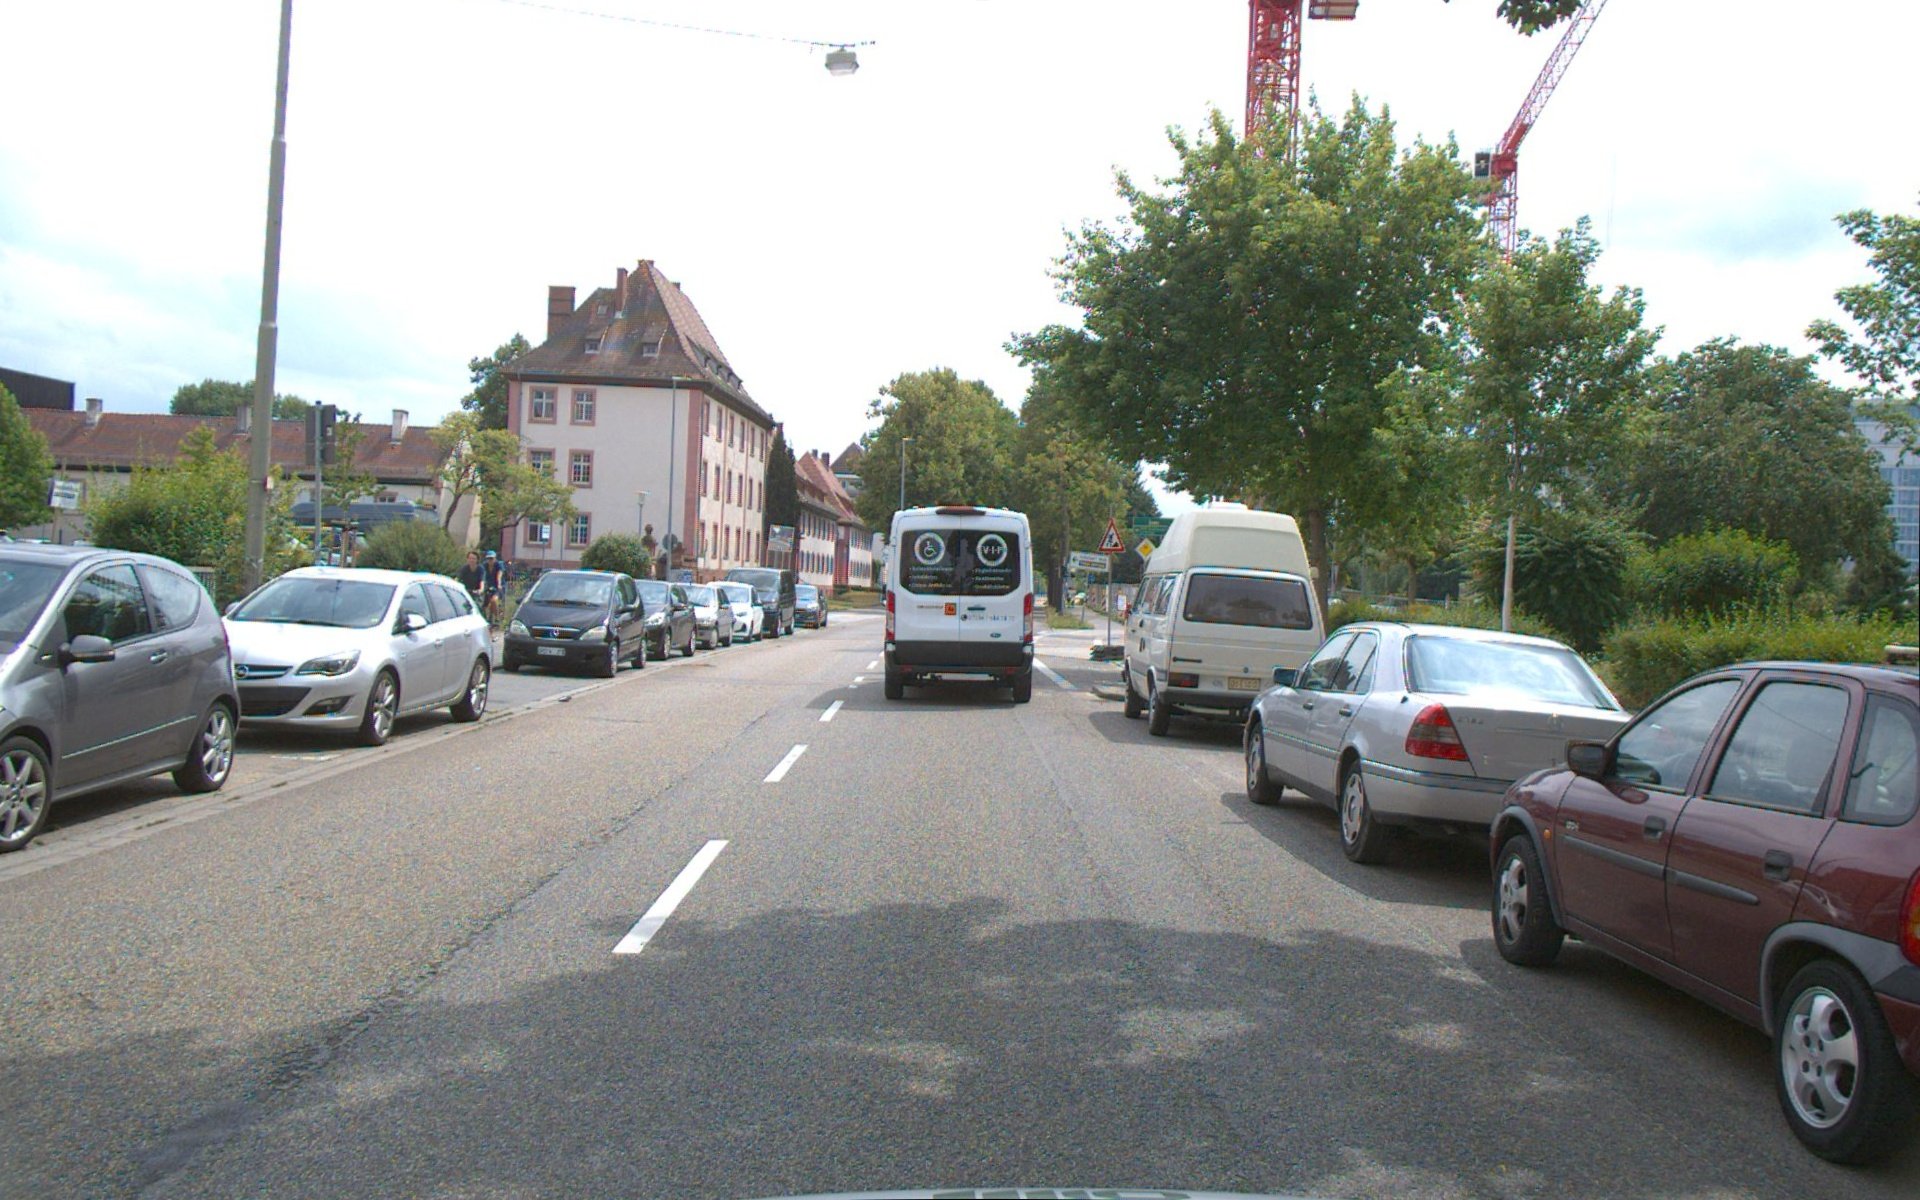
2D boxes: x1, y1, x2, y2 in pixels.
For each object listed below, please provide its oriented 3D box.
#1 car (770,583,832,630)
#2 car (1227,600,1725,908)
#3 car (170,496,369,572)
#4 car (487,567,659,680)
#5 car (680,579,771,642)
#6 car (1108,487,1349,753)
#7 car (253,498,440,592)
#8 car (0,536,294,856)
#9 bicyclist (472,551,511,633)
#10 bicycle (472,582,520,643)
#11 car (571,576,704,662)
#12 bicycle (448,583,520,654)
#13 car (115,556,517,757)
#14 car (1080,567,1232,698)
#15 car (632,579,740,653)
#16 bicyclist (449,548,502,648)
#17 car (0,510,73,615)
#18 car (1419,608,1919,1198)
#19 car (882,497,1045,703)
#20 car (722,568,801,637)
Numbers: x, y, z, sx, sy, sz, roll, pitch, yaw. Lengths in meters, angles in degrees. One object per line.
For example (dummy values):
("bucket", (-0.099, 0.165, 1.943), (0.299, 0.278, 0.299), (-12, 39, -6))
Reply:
("car", (-5.623, 0.205, 58.806), (1.749, 1.507, 3.861), (3, 0, 0))
("car", (3.131, 0.826, 11.105), (1.647, 1.494, 4.553), (5, 0, -3))
("car", (-17.239, -1.623, 41.459), (4.086, 1.713, 2.000), (2, 1, 0))
("car", (-6.083, 0.338, 26.401), (1.749, 1.570, 3.861), (3, 0, 0))
("car", (-6.128, 0.260, 43.575), (1.749, 1.507, 3.861), (3, 0, 0))
("car", (3.017, 0.202, 19.654), (1.858, 2.632, 4.828), (4, 0, -1))
("car", (-16.844, -1.497, 45.531), (4.318, 2.389, 2.000), (2, 1, 0))
("car", (-5.770, 0.420, 10.011), (1.848, 1.607, 4.151), (3, 0, -2))
("bicyclist", (-9.340, -0.162, 32.964), (0.525, 1.613, 0.692), (1, 0, 2))
("bicycle", (-9.332, 0.237, 33.302), (0.530, 1.195, 1.349), (1, 0, 2))
("car", (-6.200, 0.340, 32.176), (1.749, 1.488, 3.861), (3, 0, 0))
("bicycle", (-8.396, 0.307, 29.263), (0.530, 1.195, 2.093), (1, 0, 4))
("car", (-5.819, 0.453, 15.662), (1.847, 1.514, 4.634), (3, 0, 1))
("car", (2.933, 0.458, 25.526), (1.678, 1.724, 4.000), (4, 0, -1))
("car", (-6.183, 0.338, 37.718), (1.749, 1.488, 3.861), (3, 0, 0))
("bicyclist", (-8.415, -0.036, 28.762), (0.525, 1.682, 1.048), (1, 0, 3))
("car", (-17.584, -0.698, 27.927), (4.086, 1.713, 2.000), (2, 1, 0))
("car", (3.268, 0.859, 6.278), (1.679, 1.490, 3.998), (4, 0, -3))
("car", (-0.061, 0.008, 23.307), (2.029, 2.585, 4.632), (1, 0, -3))
("car", (-5.813, 0.059, 48.757), (1.749, 1.858, 3.974), (3, 0, 0))
